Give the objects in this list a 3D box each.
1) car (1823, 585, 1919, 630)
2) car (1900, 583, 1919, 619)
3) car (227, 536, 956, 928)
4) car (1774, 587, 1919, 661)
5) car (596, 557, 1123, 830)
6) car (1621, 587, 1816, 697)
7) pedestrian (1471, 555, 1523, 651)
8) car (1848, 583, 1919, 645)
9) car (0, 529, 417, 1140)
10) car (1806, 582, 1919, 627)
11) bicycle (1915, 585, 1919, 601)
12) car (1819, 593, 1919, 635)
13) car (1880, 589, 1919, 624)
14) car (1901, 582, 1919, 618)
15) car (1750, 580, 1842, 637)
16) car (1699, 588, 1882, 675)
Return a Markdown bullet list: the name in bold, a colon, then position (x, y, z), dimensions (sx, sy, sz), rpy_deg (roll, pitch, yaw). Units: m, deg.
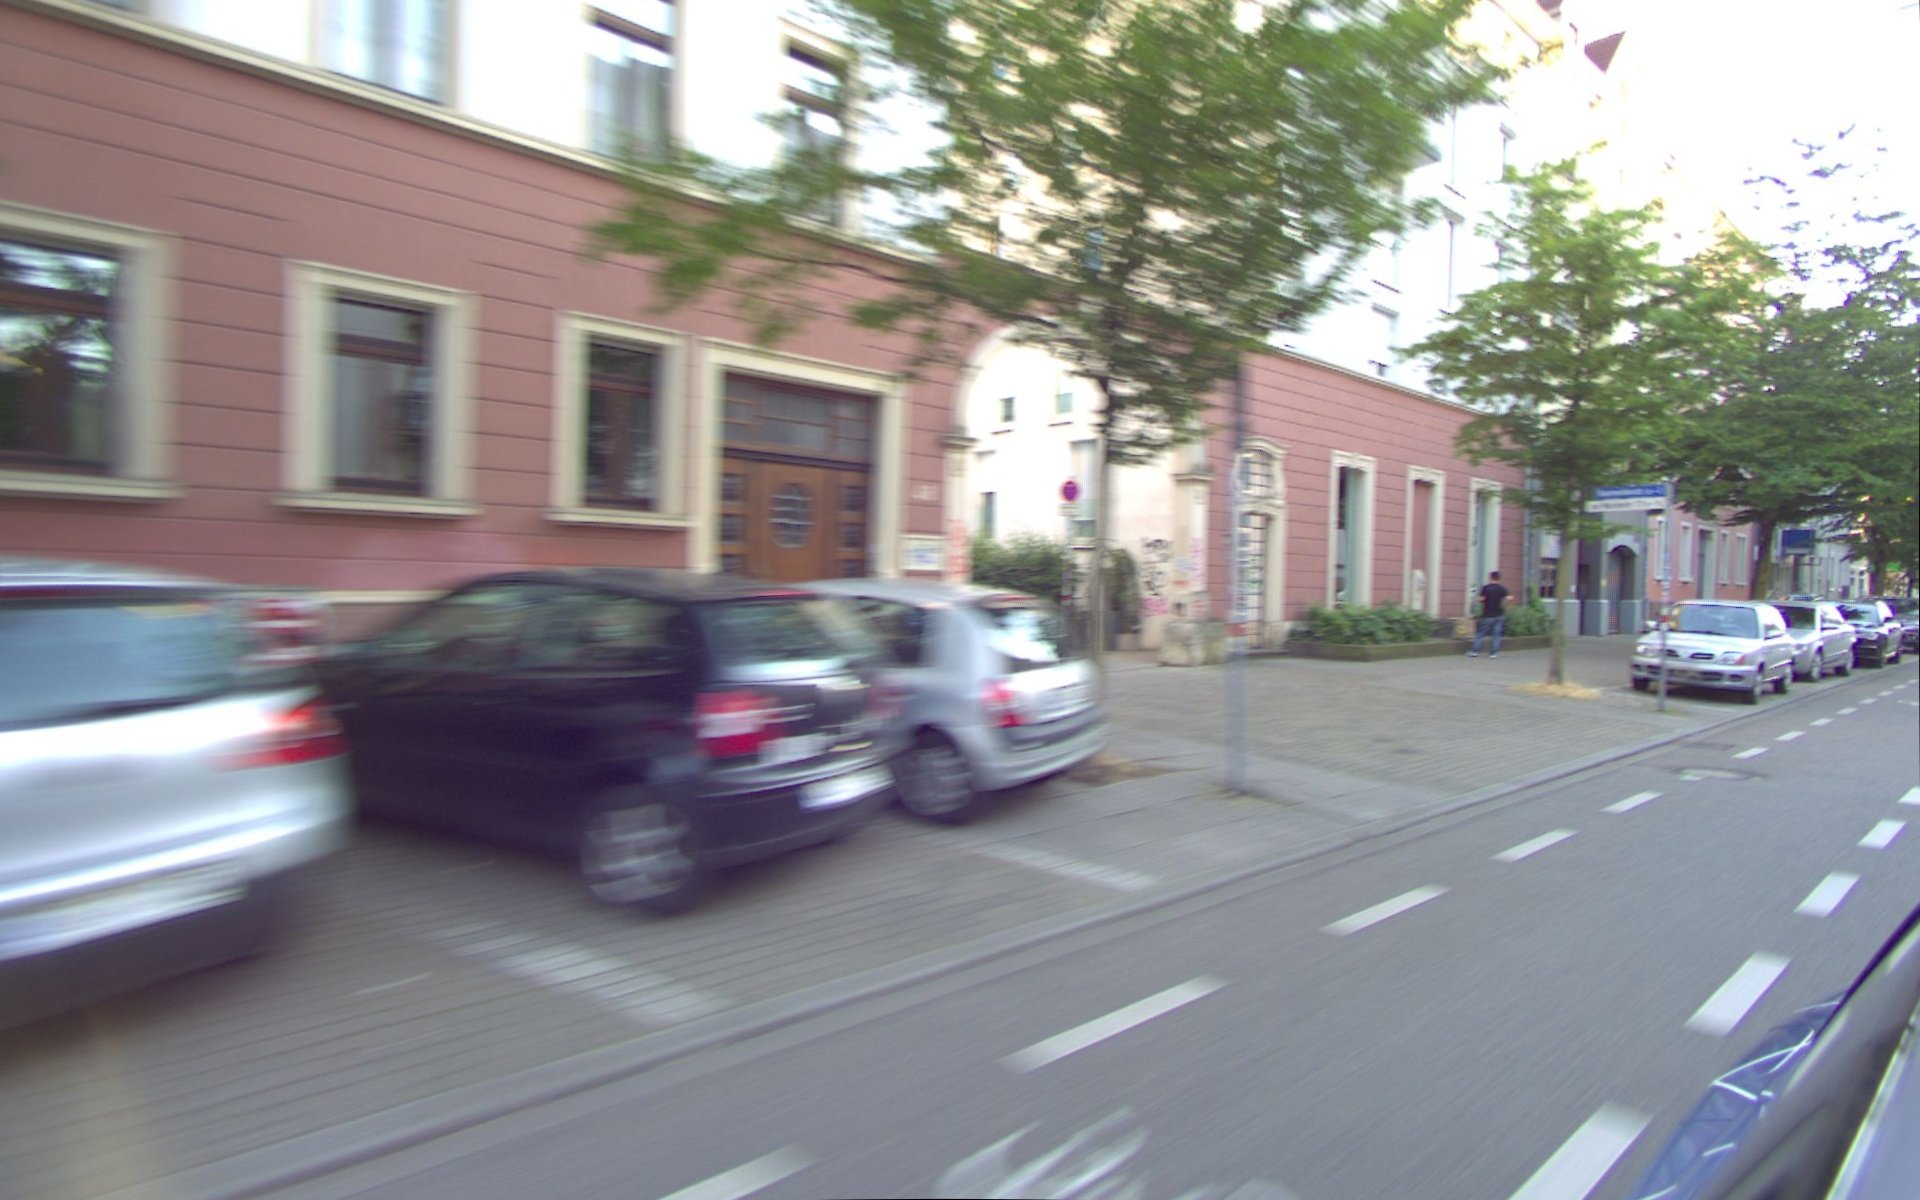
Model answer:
- **car**: position (36.376, 0.306, 39.380), dimensions (3.945, 1.573, 1.700), rpy_deg (4, 2, 32)
- **car**: position (48.466, 0.149, 48.824), dimensions (4.153, 1.717, 1.830), rpy_deg (3, 2, 27)
- **car**: position (-1.978, 0.447, 5.425), dimensions (3.529, 1.446, 1.656), rpy_deg (3, 2, 25)
- **car**: position (21.143, 0.484, 23.965), dimensions (4.947, 1.507, 1.998), rpy_deg (0, 3, -41)
- **car**: position (-0.769, 0.453, 7.181), dimensions (3.465, 1.446, 1.604), rpy_deg (3, 4, 31)
- **car**: position (11.776, 0.554, 15.632), dimensions (3.710, 1.397, 1.622), rpy_deg (-1, 4, -41)
- **pedestrian**: position (10.535, 0.046, 19.859), dimensions (0.589, 1.838, 0.682), rpy_deg (0, 1, -40)
- **car**: position (28.095, 0.375, 30.152), dimensions (4.189, 1.637, 1.884), rpy_deg (0, 5, -42)
- **car**: position (-3.895, 0.509, 3.560), dimensions (3.529, 1.535, 1.729), rpy_deg (3, 2, 25)
- **car**: position (37.415, 0.190, 41.403), dimensions (3.965, 1.613, 1.703), rpy_deg (3, 1, 29)
- **bicycle**: position (72.057, -0.516, 75.926), dimensions (1.558, 1.225, 0.470), rpy_deg (0, 1, -41)
- **car**: position (34.544, 0.513, 37.181), dimensions (4.217, 1.405, 1.608), rpy_deg (2, 2, 24)
- **car**: position (43.723, 0.377, 44.728), dimensions (1.691, 1.481, 4.382), rpy_deg (0, 3, -44)
- **car**: position (51.941, 0.108, 52.641), dimensions (3.965, 1.838, 1.806), rpy_deg (4, 2, 28)
- **car**: position (26.303, 0.224, 31.787), dimensions (1.880, 1.603, 3.956), rpy_deg (3, 3, 44)
- **car**: position (16.125, 0.524, 19.561), dimensions (4.606, 1.397, 1.785), rpy_deg (0, 4, -39)
